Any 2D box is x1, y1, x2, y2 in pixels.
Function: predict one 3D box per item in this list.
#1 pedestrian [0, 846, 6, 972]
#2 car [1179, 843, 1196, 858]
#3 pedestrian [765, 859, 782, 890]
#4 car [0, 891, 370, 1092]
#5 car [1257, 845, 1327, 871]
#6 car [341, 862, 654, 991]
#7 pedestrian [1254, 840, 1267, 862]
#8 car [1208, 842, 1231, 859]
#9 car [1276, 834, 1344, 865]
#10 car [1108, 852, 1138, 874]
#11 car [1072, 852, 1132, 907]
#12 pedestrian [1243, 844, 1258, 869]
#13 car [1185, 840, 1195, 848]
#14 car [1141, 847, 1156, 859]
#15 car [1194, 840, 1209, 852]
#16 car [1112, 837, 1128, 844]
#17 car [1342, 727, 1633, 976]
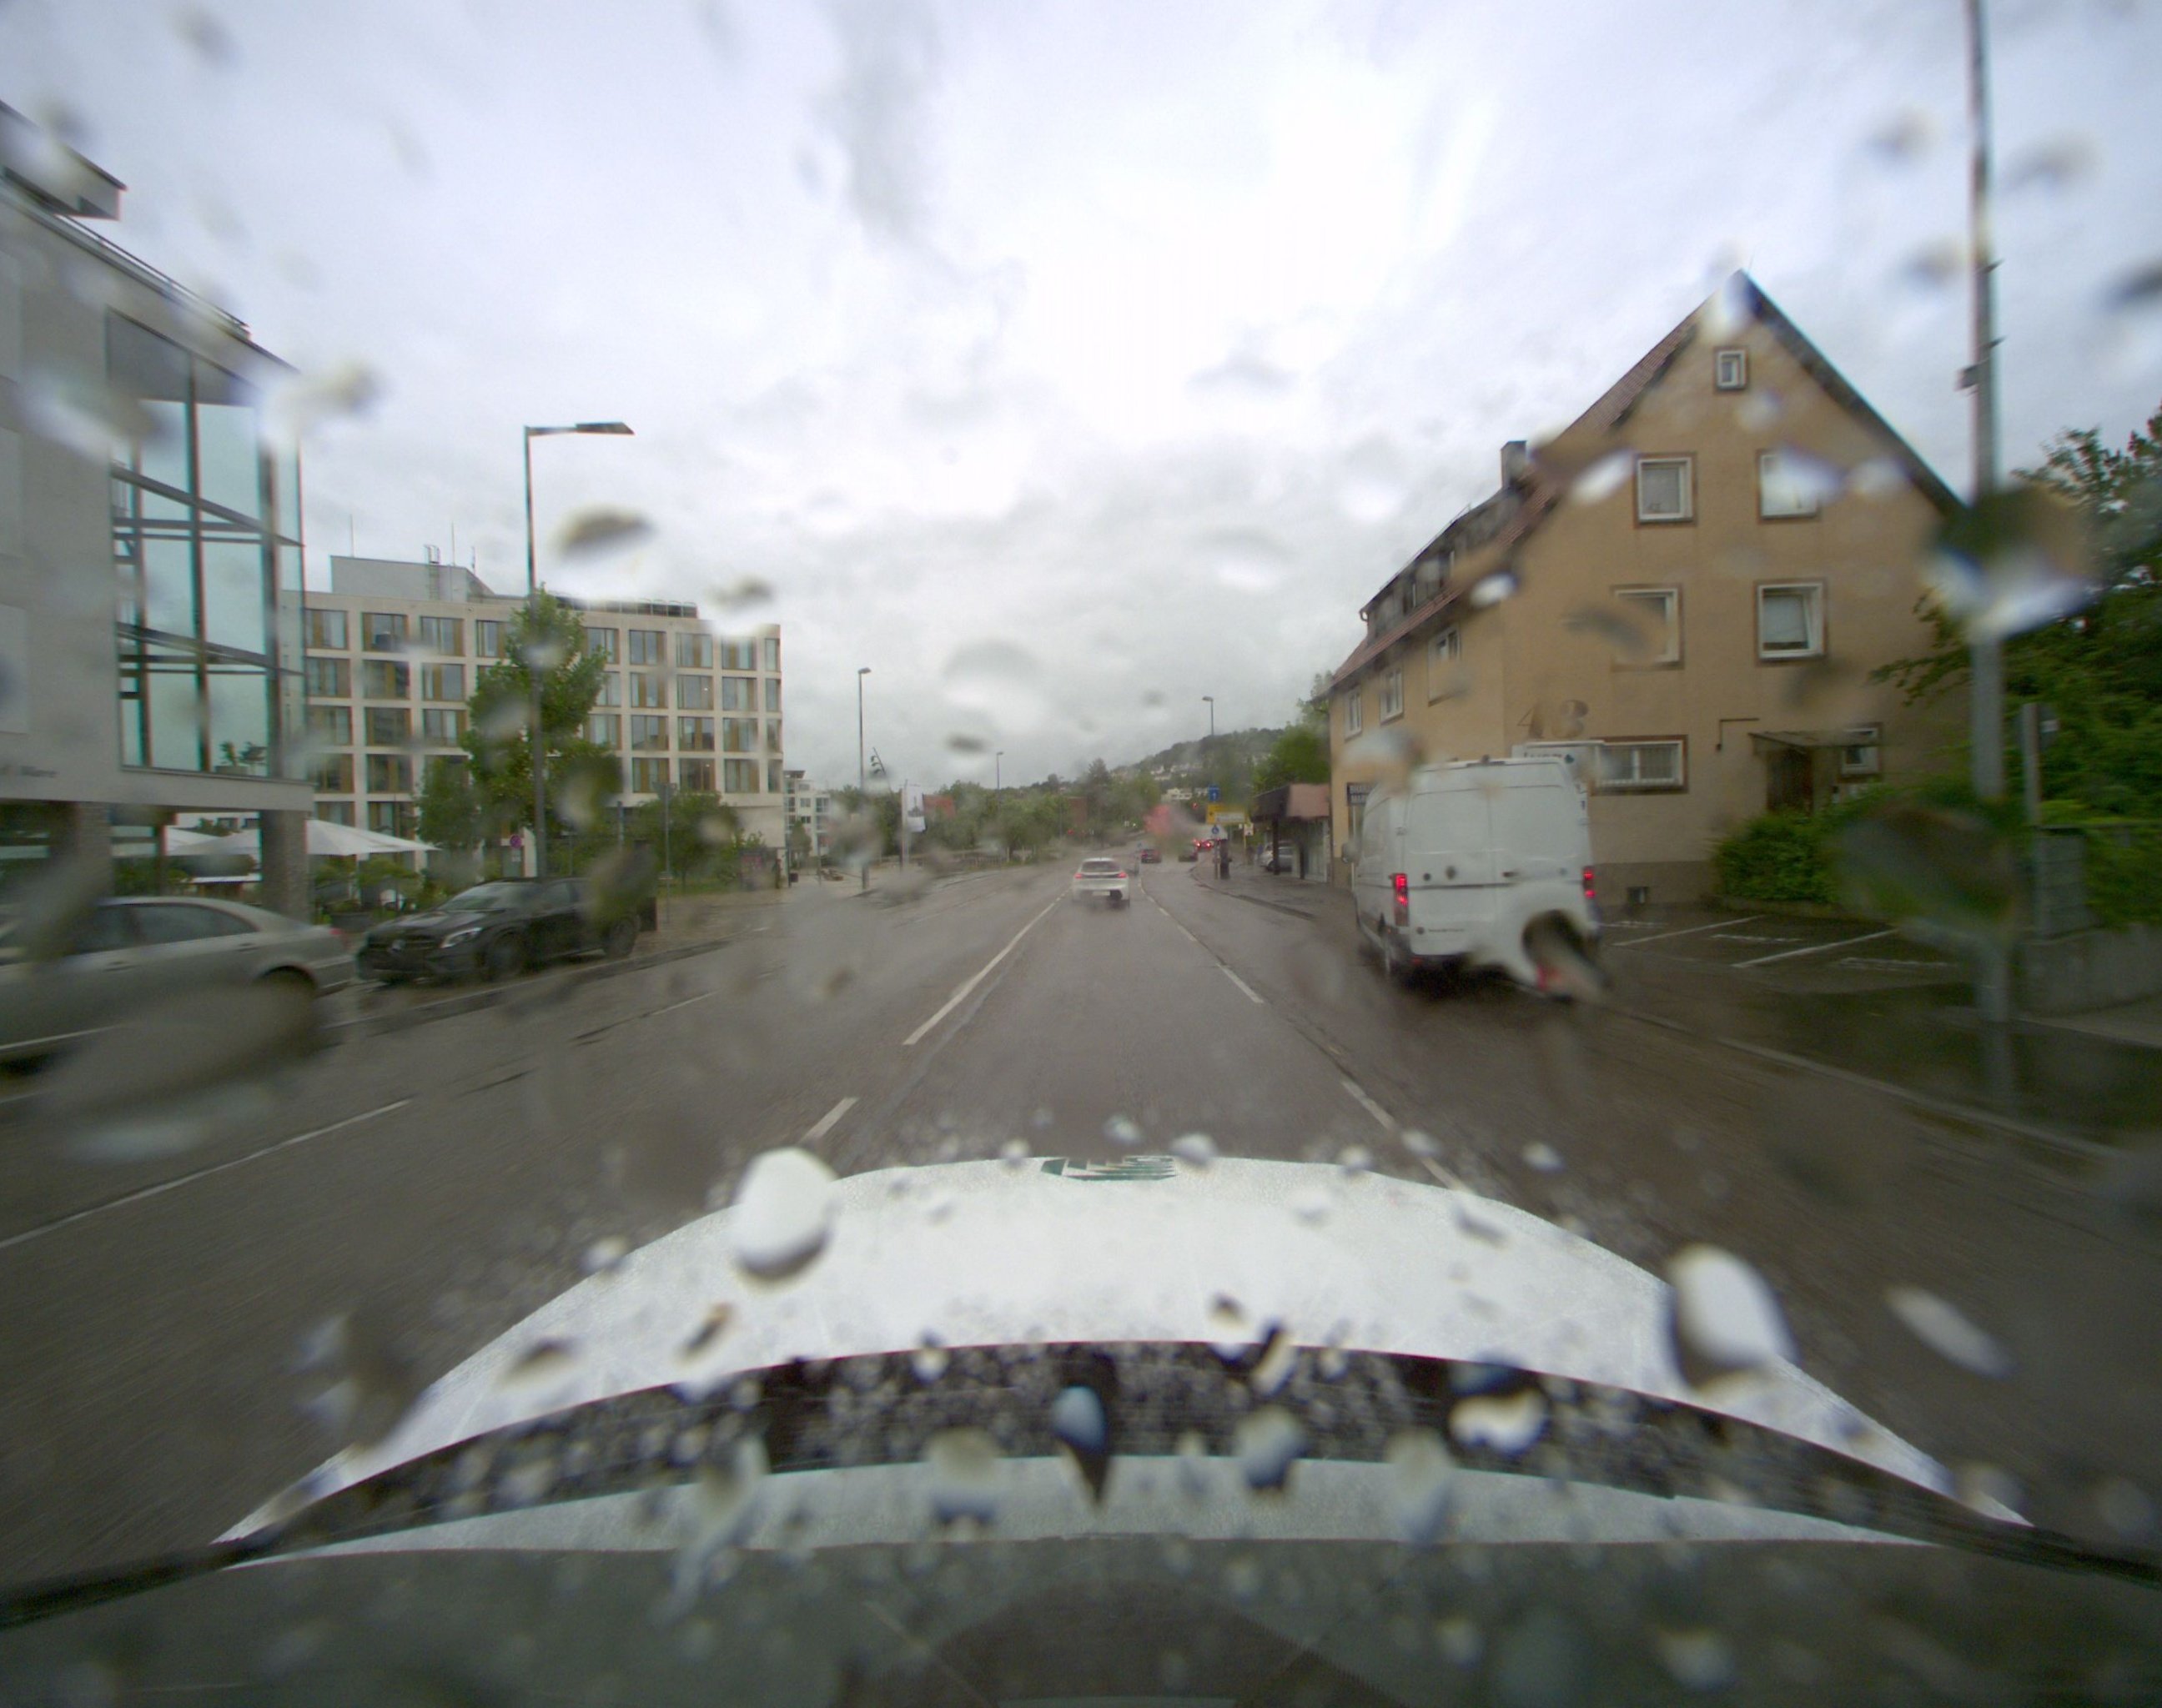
[{"bbox_3d":[-18.815,0.936,13.559,0.769,2.145,0.746,-1,-2,-12],"label":"pedestrian"},{"bbox_3d":[11.131,-0.369,85.281,1.725,1.387,3.359,0,3,6],"label":"car"},{"bbox_3d":[-17.738,1.167,46.935,0.783,1.745,0.671,-2,-2,-13],"label":"pedestrian"},{"bbox_3d":[-9.320,1.174,7.261,1.683,1.510,4.582,-2,-1,4],"label":"car"},{"bbox_3d":[13.140,0.225,50.833,3.966,1.447,1.750,-3,0,6],"label":"car"},{"bbox_3d":[-8.842,0.974,12.931,1.581,1.582,4.472,-2,0,2],"label":"car"},{"bbox_3d":[14.763,-0.219,67.100,0.871,1.736,0.761,-3,1,4],"label":"pedestrian"},{"bbox_3d":[13.431,-0.344,78.807,1.718,1.497,4.498,-3,1,14],"label":"car"},{"bbox_3d":[15.229,-0.302,54.358,4.073,1.871,1.880,-3,0,6],"label":"car"},{"bbox_3d":[2.806,0.567,53.660,1.732,1.295,3.340,-2,0,6],"label":"car"},{"bbox_3d":[0.666,0.782,24.988,1.684,1.519,3.934,-2,-2,2],"label":"car"},{"bbox_3d":[12.652,0.210,60.835,0.711,1.821,0.790,-2,-2,-24],"label":"pedestrian"},{"bbox_3d":[17.250,-1.593,128.625,1.378,1.126,2.613,-2,-1,5],"label":"car"},{"bbox_3d":[6.759,-0.090,81.179,1.205,1.156,2.276,-2,-1,10],"label":"car"},{"bbox_3d":[17.011,-1.161,115.064,1.642,1.485,3.366,-2,-1,1],"label":"car"},{"bbox_3d":[6.725,-2.319,139.788,2.431,1.157,1.359,-2,-1,-26],"label":"car"},{"bbox_3d":[5.021,0.053,11.317,2.274,2.382,6.652,-3,-1,15],"label":"car"}]
